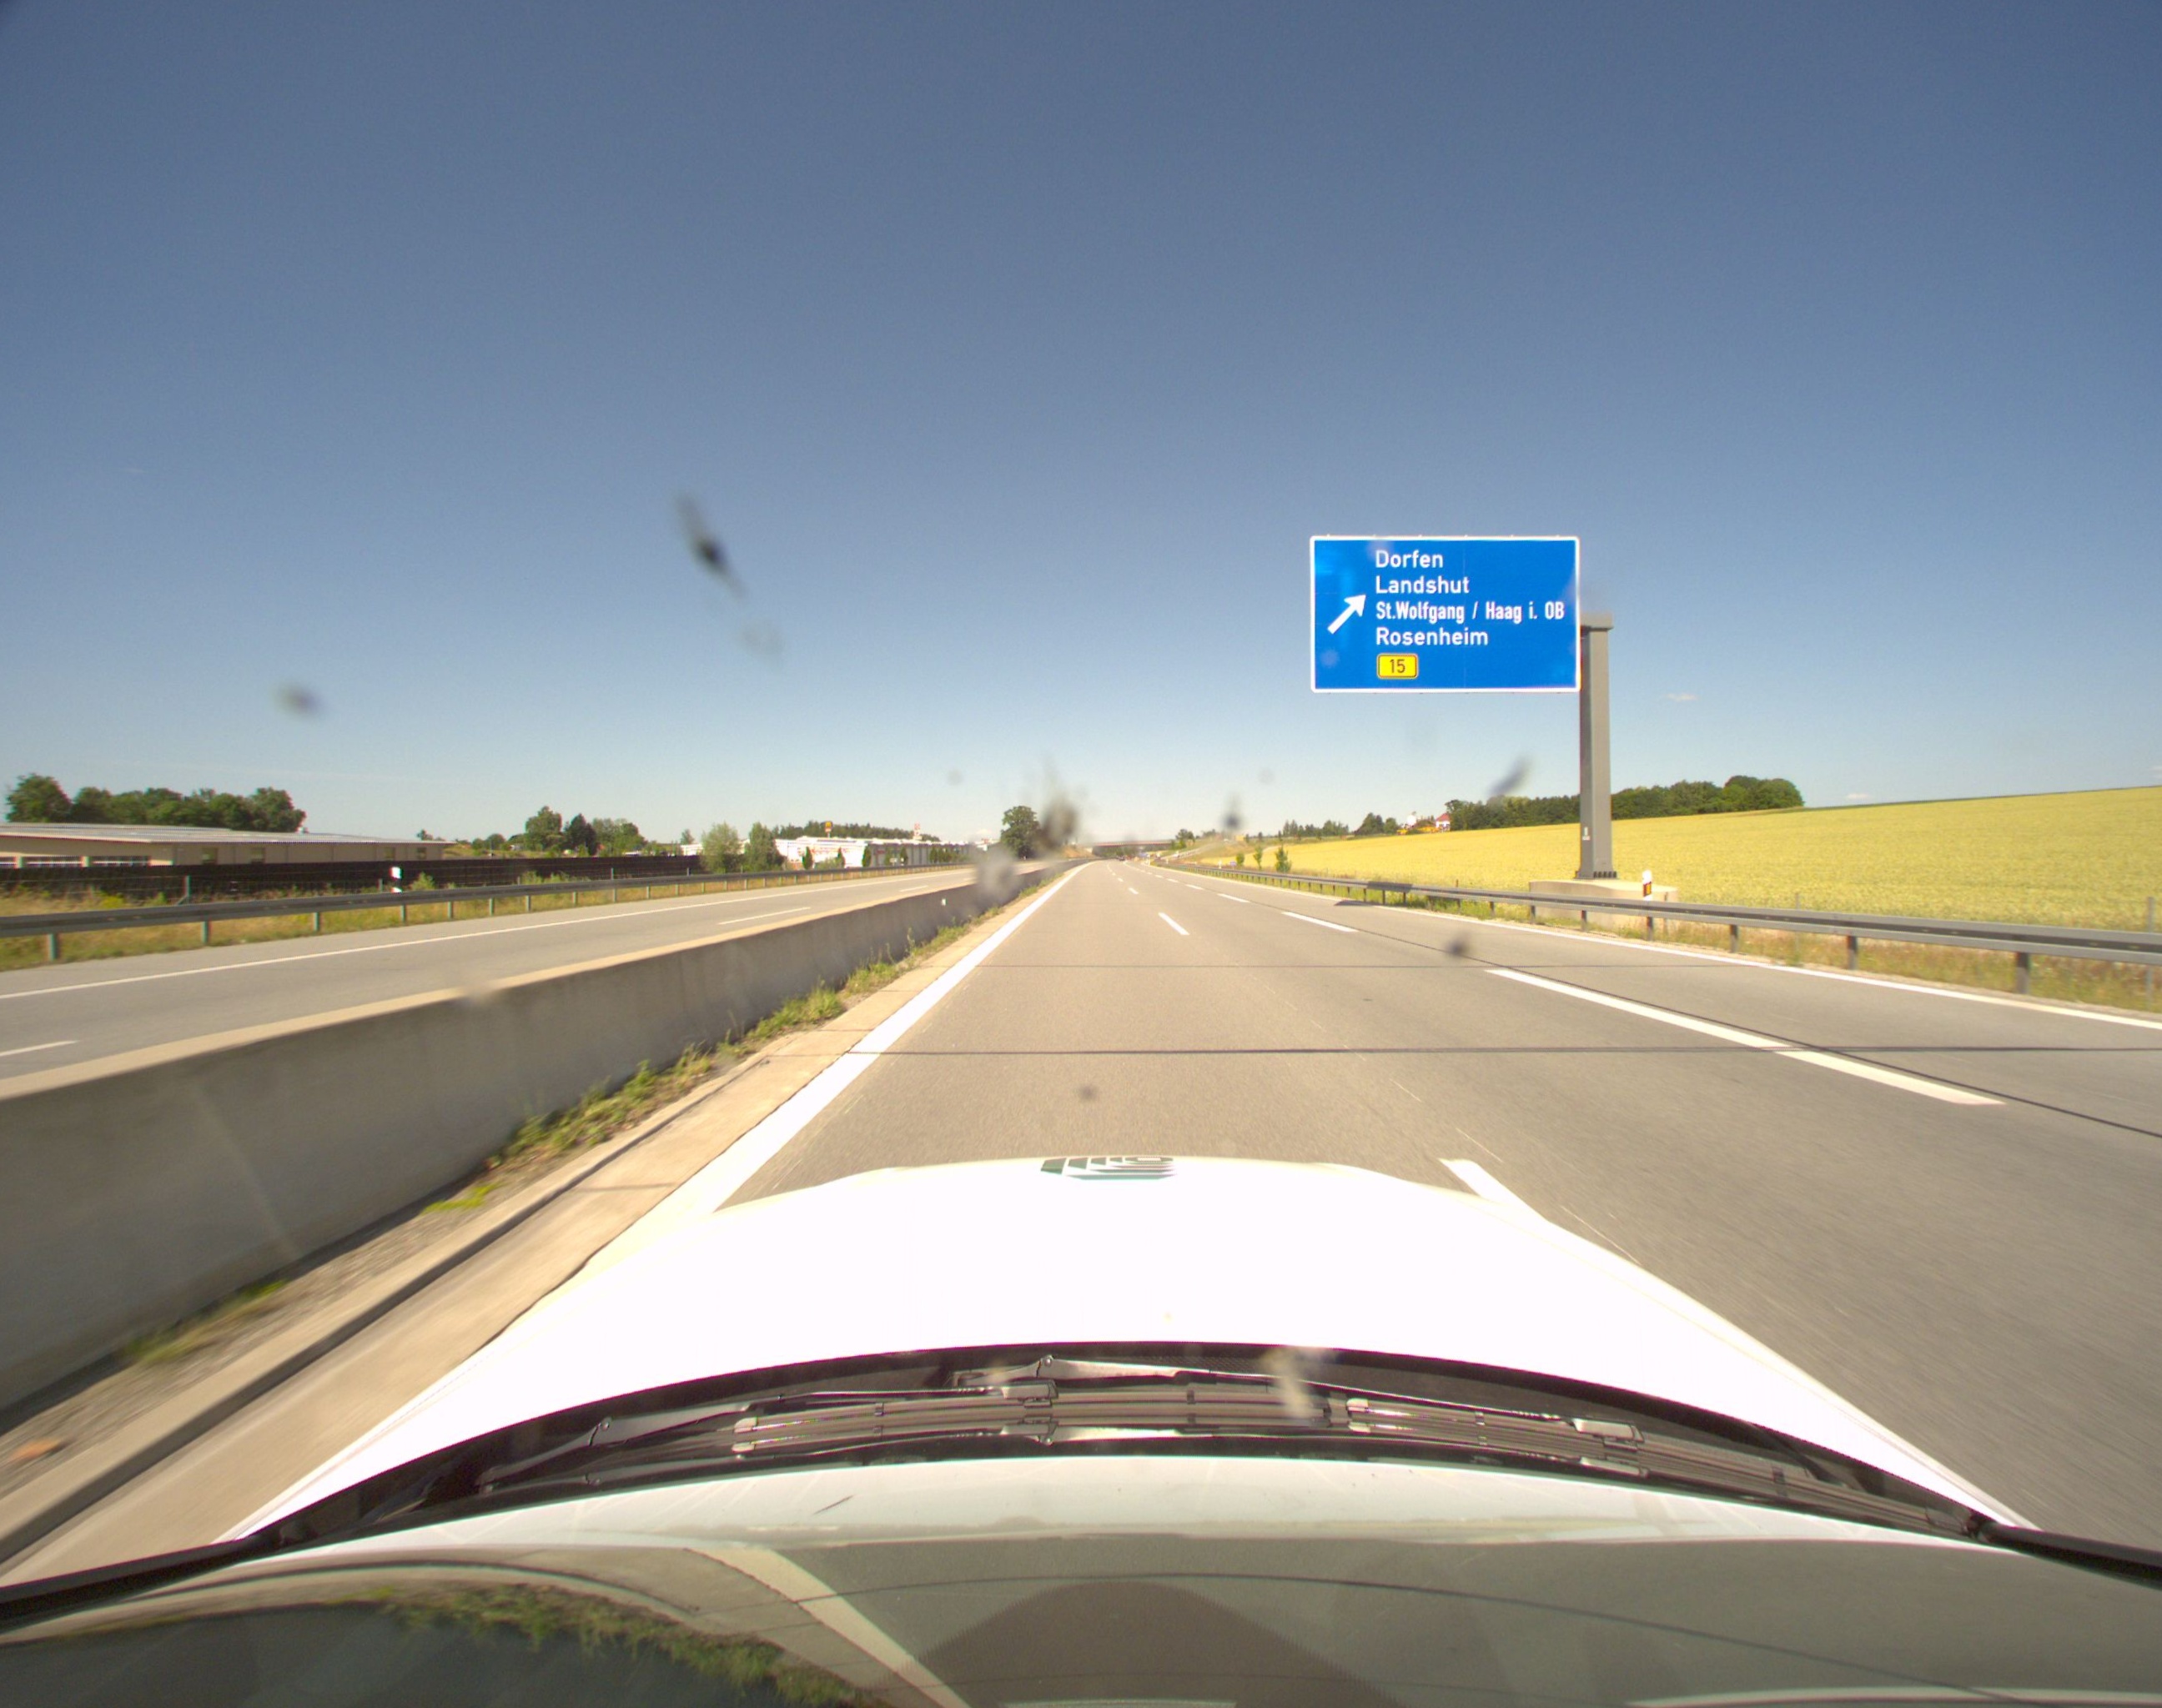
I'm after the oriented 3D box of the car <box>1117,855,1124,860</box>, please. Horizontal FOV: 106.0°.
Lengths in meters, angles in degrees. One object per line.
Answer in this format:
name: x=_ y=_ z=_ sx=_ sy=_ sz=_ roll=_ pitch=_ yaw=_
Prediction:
car: x=12.586 y=1.083 z=258.358 sx=1.984 sy=1.420 sz=4.005 roll=-1 pitch=0 yaw=5
